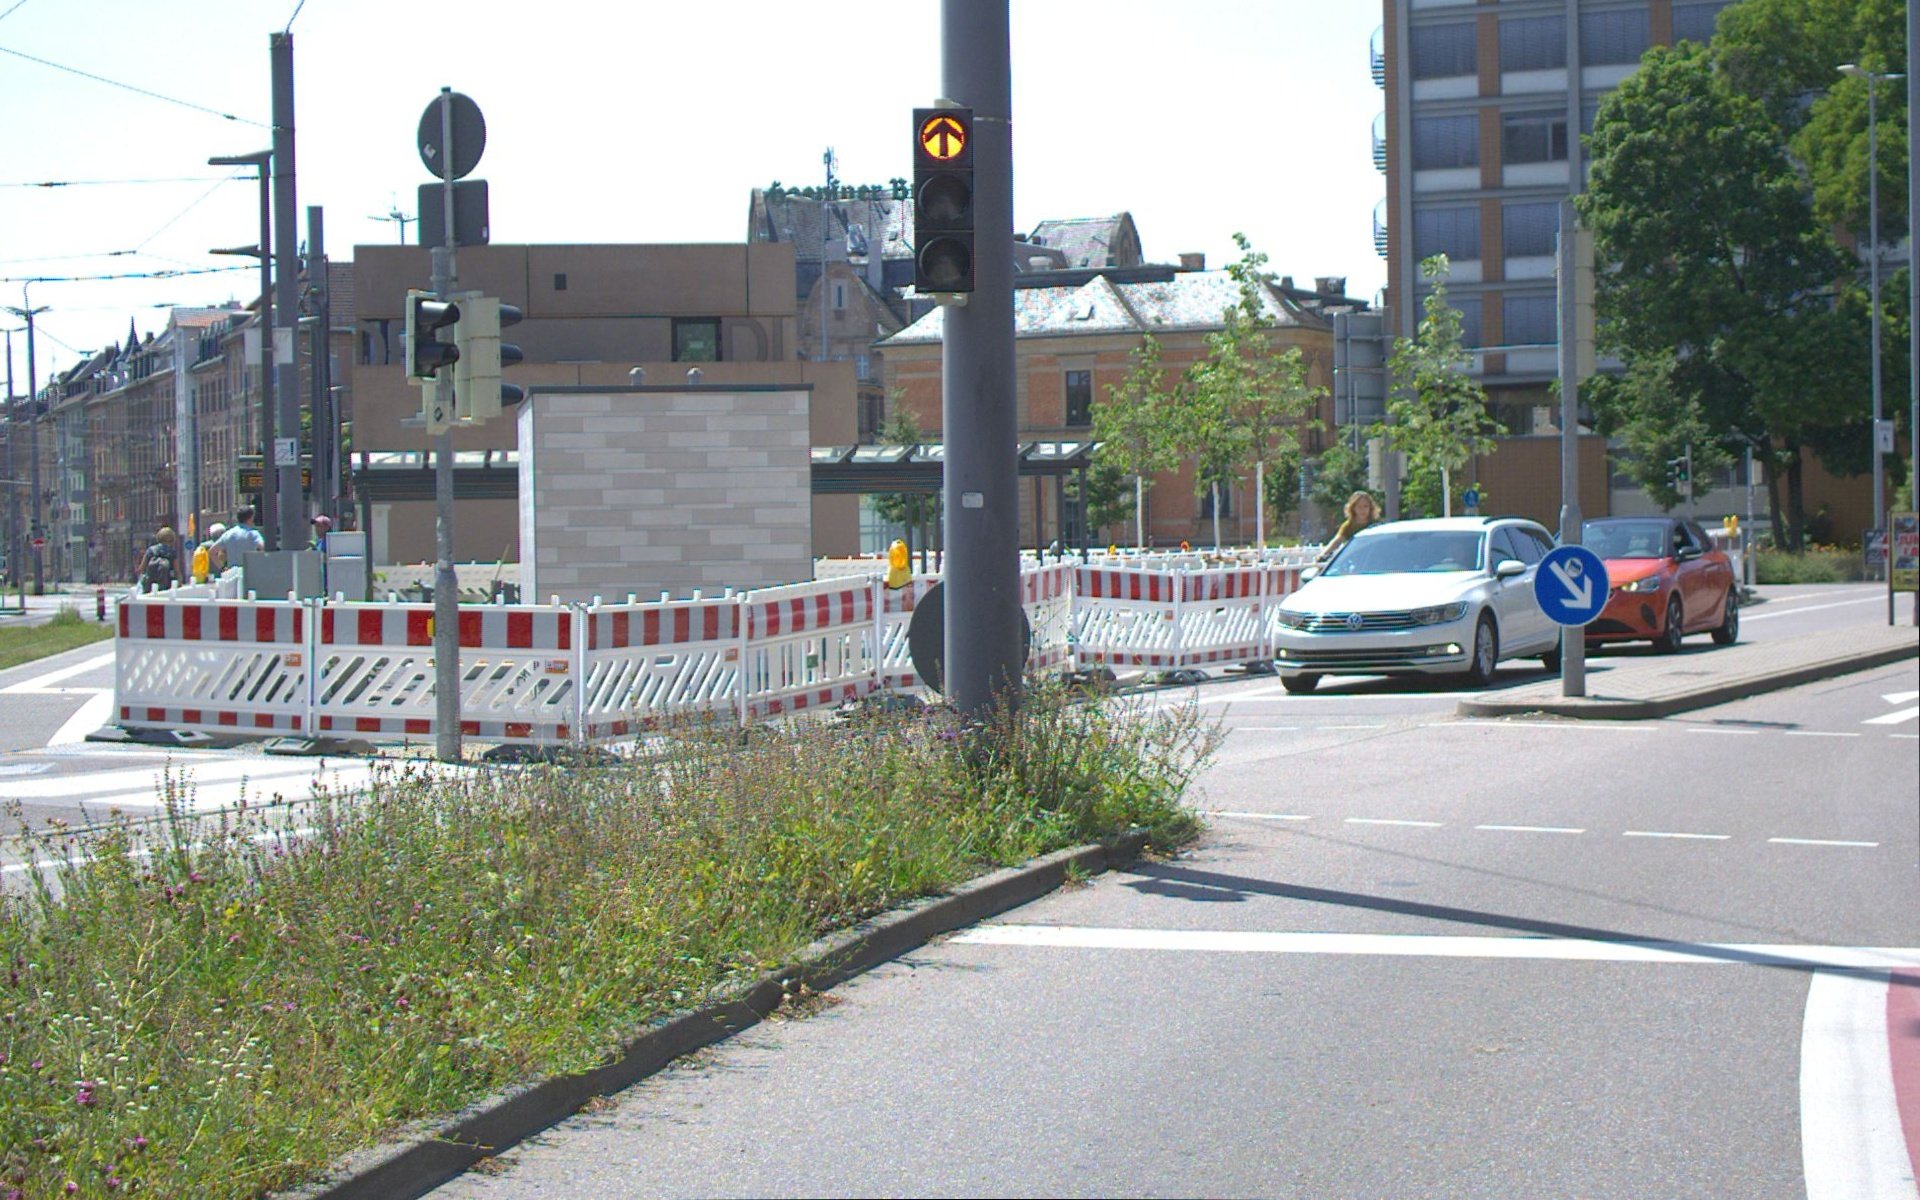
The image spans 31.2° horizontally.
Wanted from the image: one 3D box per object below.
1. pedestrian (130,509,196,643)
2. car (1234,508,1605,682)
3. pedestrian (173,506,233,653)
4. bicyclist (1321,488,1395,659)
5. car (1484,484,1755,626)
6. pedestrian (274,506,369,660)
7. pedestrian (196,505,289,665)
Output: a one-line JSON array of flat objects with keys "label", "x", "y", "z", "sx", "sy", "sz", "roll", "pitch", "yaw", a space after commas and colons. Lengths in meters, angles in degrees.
[{"label": "pedestrian", "x": -10.253, "y": -0.309, "z": 44.216, "sx": 0.726, "sy": 1.701, "sz": 0.744, "roll": -1, "pitch": 0, "yaw": -21}, {"label": "car", "x": 4.238, "y": -0.068, "z": 31.008, "sx": 1.996, "sy": 1.433, "sz": 4.699, "roll": -1, "pitch": 1, "yaw": 25}, {"label": "pedestrian", "x": -10.021, "y": -0.269, "z": 45.477, "sx": 0.719, "sy": 1.917, "sz": 1.074, "roll": -1, "pitch": 0, "yaw": -14}, {"label": "bicyclist", "x": 4.042, "y": -0.273, "z": 34.878, "sx": 0.568, "sy": 1.713, "sz": 0.506, "roll": 0, "pitch": 2, "yaw": 32}, {"label": "car", "x": 7.149, "y": -0.481, "z": 36.985, "sx": 1.734, "sy": 1.420, "sz": 4.118, "roll": -1, "pitch": 1, "yaw": 28}, {"label": "pedestrian", "x": -7.729, "y": -0.209, "z": 41.620, "sx": 0.977, "sy": 1.826, "sz": 0.634, "roll": -2, "pitch": 1, "yaw": -23}, {"label": "pedestrian", "x": -8.414, "y": -0.172, "z": 40.333, "sx": 0.730, "sy": 1.858, "sz": 0.765, "roll": -1, "pitch": 0, "yaw": 40}]
